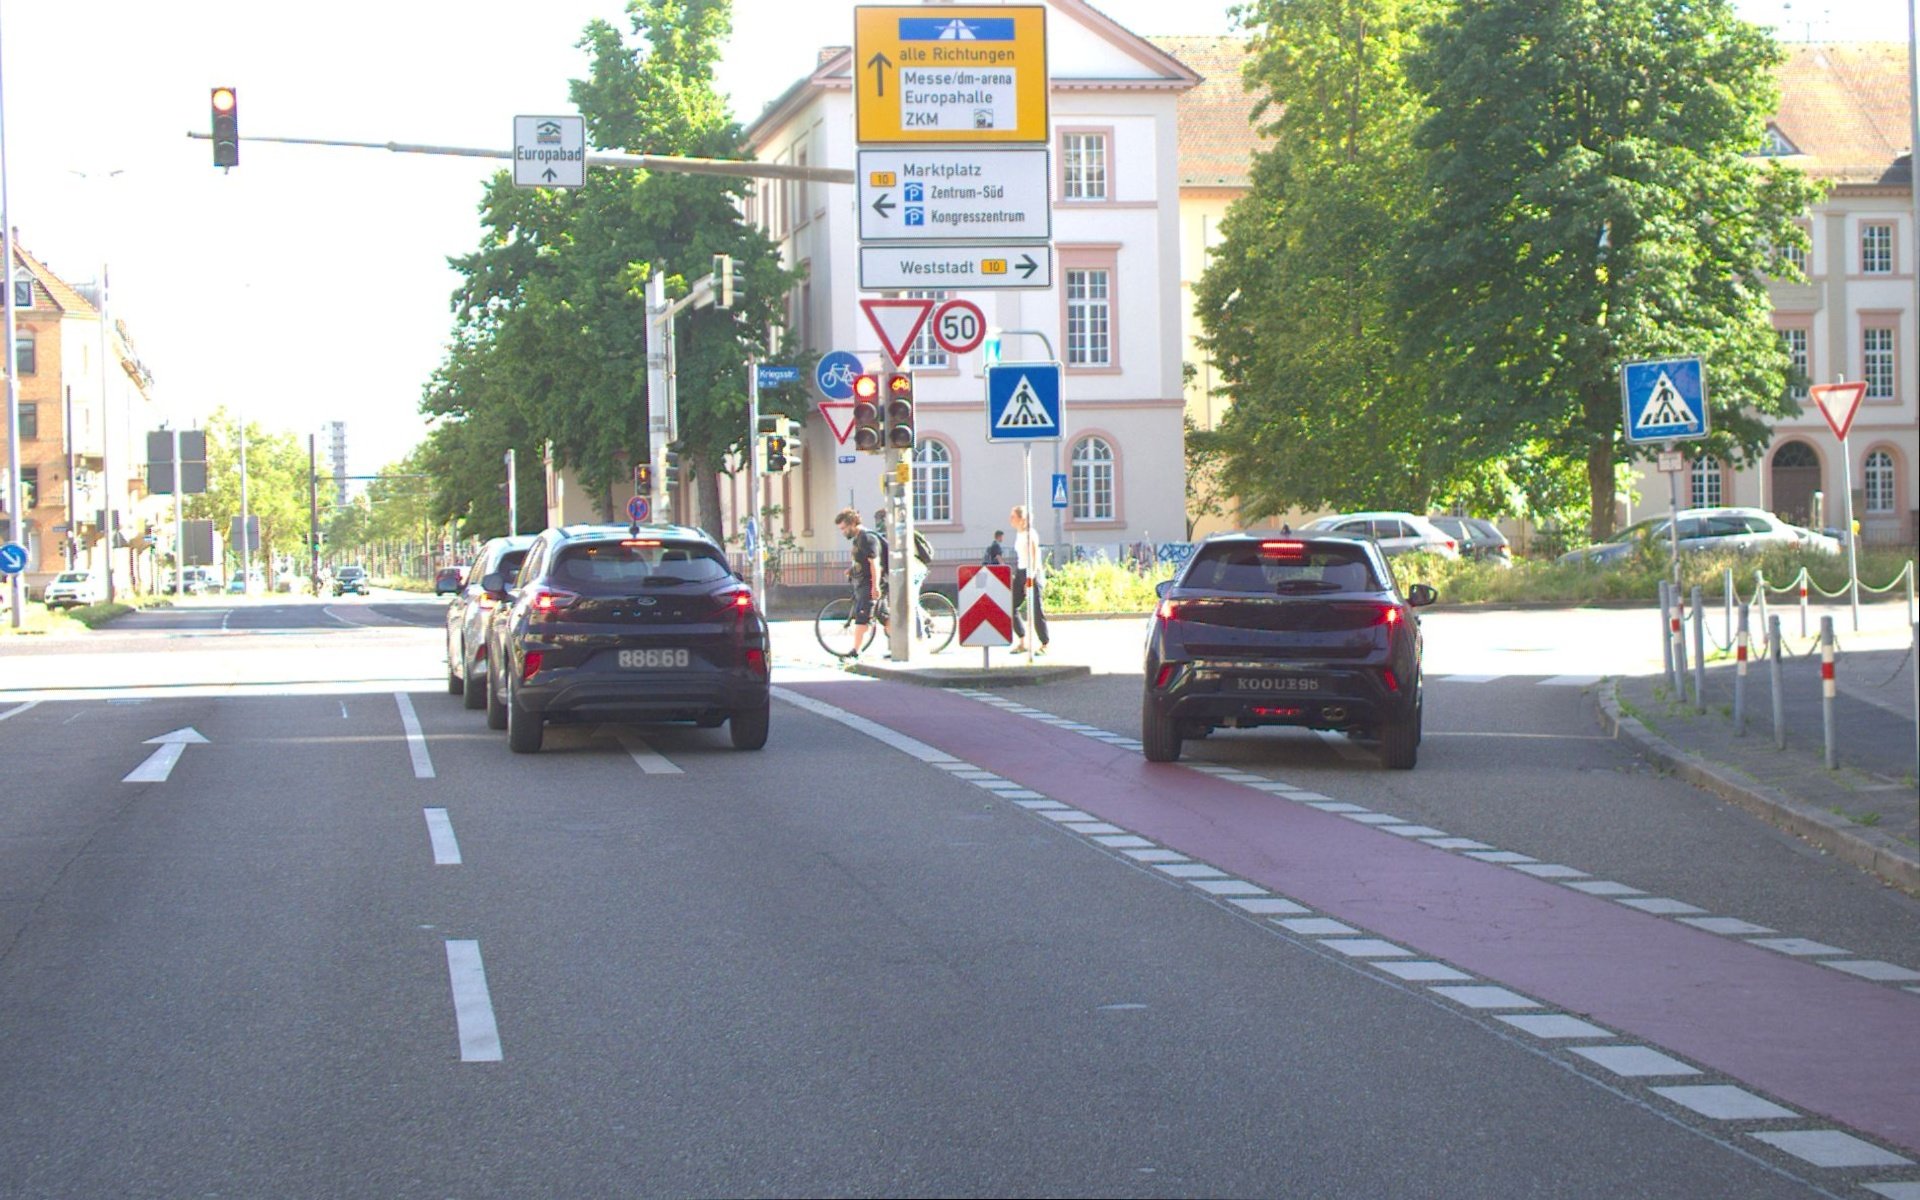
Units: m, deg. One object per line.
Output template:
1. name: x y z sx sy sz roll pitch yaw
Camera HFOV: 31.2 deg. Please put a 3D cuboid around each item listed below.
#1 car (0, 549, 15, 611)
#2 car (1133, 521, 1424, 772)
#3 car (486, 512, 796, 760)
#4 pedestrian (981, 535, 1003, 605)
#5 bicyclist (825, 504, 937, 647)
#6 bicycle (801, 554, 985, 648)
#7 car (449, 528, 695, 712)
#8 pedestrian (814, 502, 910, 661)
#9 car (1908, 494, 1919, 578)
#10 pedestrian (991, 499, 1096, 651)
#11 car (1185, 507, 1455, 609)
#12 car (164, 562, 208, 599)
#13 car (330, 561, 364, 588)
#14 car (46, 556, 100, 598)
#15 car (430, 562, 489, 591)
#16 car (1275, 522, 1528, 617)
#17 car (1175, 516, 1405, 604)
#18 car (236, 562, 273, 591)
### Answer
1. car: -34.342 -0.708 120.869 1.810 2.127 4.001 -1 1 -11
2. car: 2.087 0.269 23.348 1.745 1.568 3.558 0 1 2
3. car: -2.345 0.192 24.429 1.829 1.573 3.840 -2 1 -10
4. pedestrian: 0.735 -0.684 79.709 0.440 1.610 0.467 1 0 -4
5. bicyclist: -0.916 -0.287 39.650 1.164 1.628 0.729 -1 1 -13
6. bicycle: -0.778 0.006 39.676 2.031 1.057 0.622 -1 1 -13
7. car: -3.444 0.124 29.953 1.829 1.447 3.989 -1 1 -10
8. pedestrian: -1.071 -0.207 37.402 0.825 1.696 0.918 -1 1 -16
9. car: 19.477 -1.205 62.130 4.173 1.503 1.823 -2 1 -17
10. pedestrian: 0.934 -0.287 38.545 1.040 1.654 0.784 -2 1 -7
11. car: 6.046 -0.724 57.842 4.113 1.596 1.823 -2 1 -17
12. car: -36.011 -0.898 160.044 1.810 1.628 4.001 -1 1 -11
13. car: -35.009 -1.473 196.239 1.810 1.443 4.001 -1 1 -11
14. car: -36.239 -0.954 140.540 1.810 1.628 4.001 -1 1 -11
15. car: -25.675 -1.222 176.485 1.811 1.402 3.999 -1 1 10
16. car: 7.934 -0.563 61.869 4.113 1.596 1.823 -2 1 -17
17. car: 6.505 -0.801 67.898 4.113 1.596 1.823 -2 1 -17
18. car: -36.868 -1.220 179.680 1.810 1.443 4.001 -1 1 -11
